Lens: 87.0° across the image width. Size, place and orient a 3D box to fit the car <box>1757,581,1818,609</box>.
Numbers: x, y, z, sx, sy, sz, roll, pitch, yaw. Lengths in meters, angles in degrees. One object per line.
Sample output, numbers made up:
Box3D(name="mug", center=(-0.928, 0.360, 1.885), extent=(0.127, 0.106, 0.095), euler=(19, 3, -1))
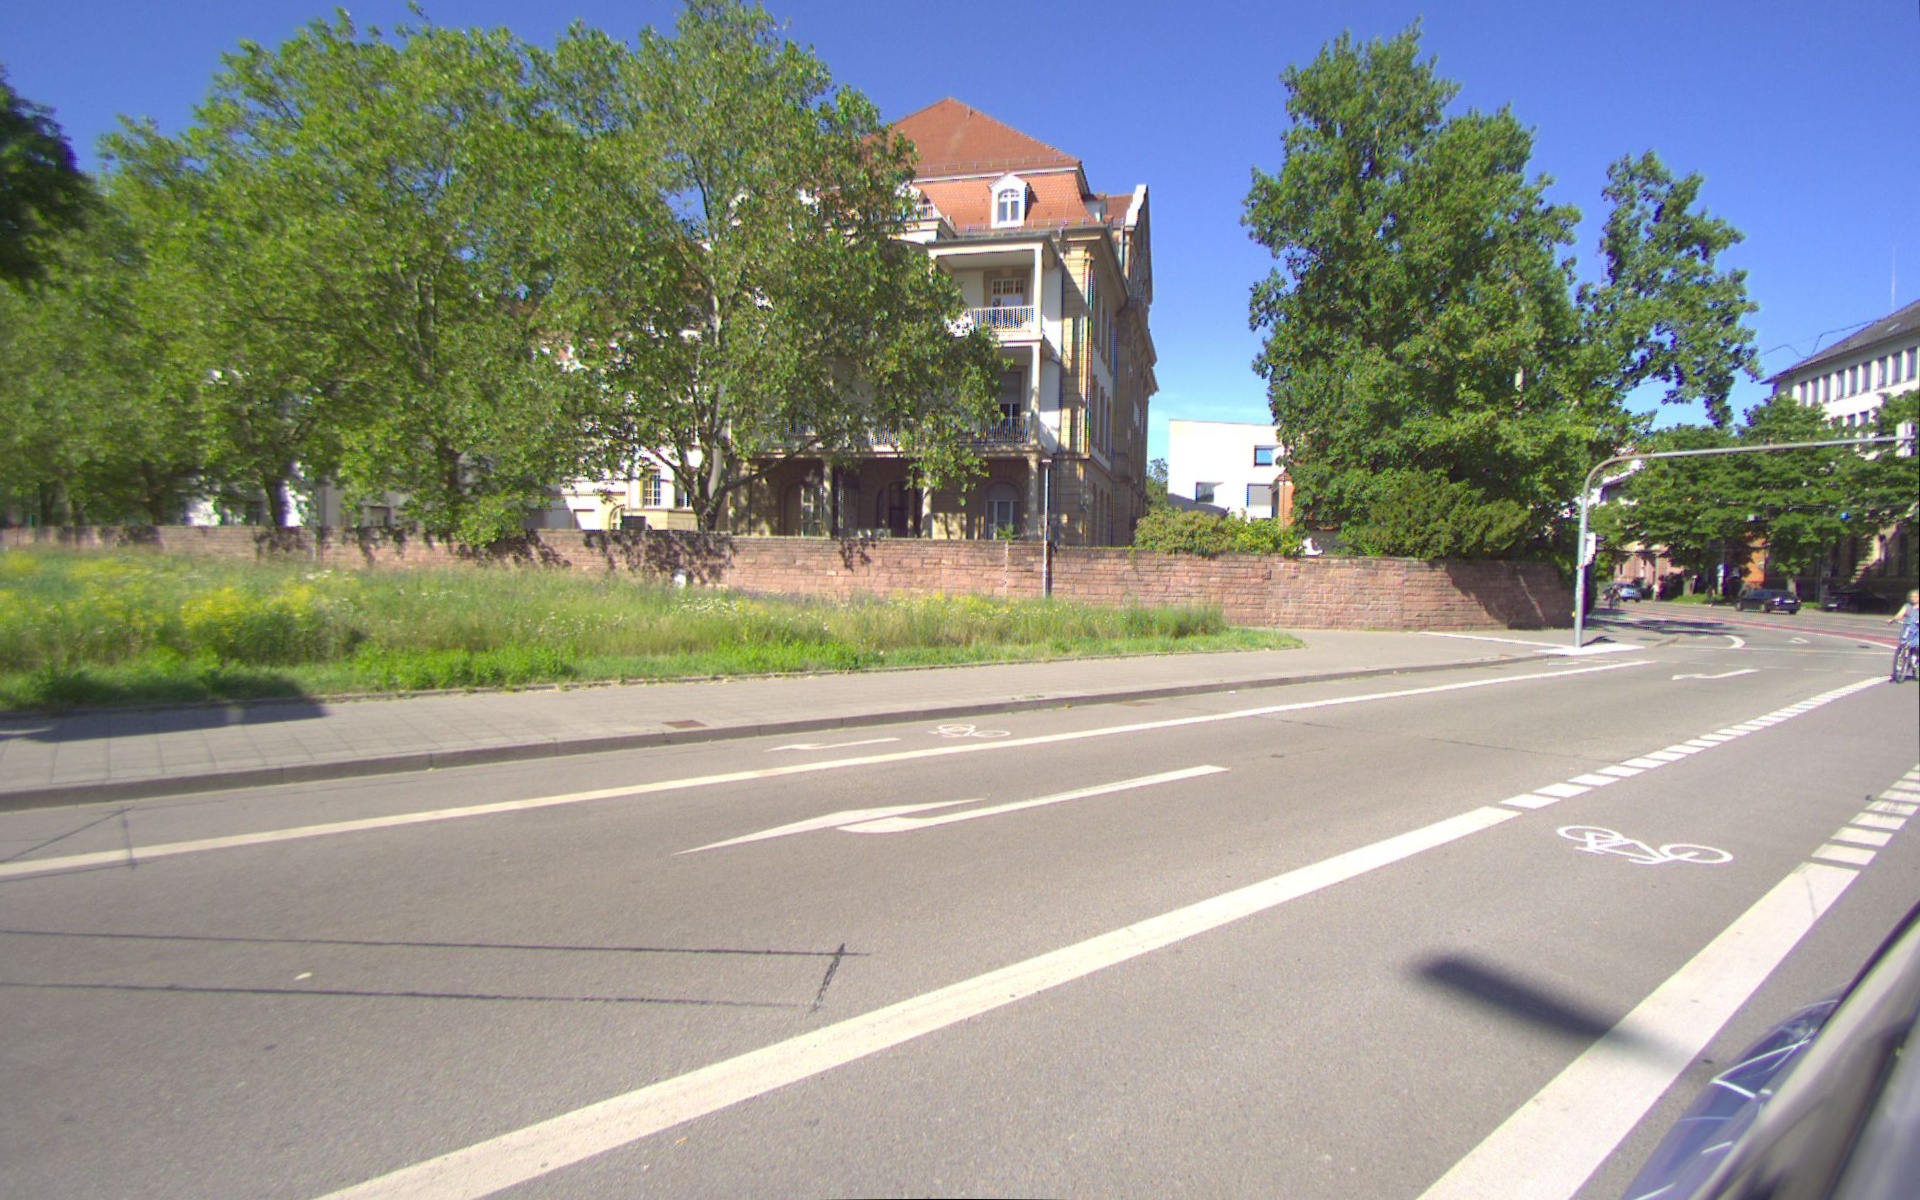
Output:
Box3D(name="car", center=(51.862, -0.358, 63.501), extent=(1.776, 1.517, 4.537), euler=(3, 3, 25))

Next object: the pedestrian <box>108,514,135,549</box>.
Box3D(name="pedestrian", center=(-35.563, -2.903, 42.908), extent=(0.516, 1.461, 0.721), euler=(0, 0, 20))

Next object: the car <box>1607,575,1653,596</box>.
Box3D(name="car", center=(57.058, -1.267, 86.228), extent=(1.834, 1.561, 4.225), euler=(3, 3, 14))

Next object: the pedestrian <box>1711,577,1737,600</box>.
Box3D(name="pedestrian", center=(61.663, -0.930, 81.696), extent=(1.366, 1.844, 0.937), euler=(1, 1, 4))

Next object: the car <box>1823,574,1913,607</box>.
Box3D(name="car", center=(61.203, -0.644, 68.252), extent=(4.615, 2.038, 2.004), euler=(1, 2, -9))

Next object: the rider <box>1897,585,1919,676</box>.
Box3D(name="rider", center=(17.702, 0.546, 18.535), extent=(0.971, 1.640, 0.658), euler=(0, 1, -41))

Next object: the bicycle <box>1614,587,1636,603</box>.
Box3D(name="bicycle", center=(42.282, -0.323, 64.344), extent=(1.723, 1.018, 0.711), euler=(0, 1, -41))

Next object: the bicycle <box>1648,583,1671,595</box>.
Box3D(name="bicycle", center=(60.639, -0.934, 87.722), extent=(0.720, 1.003, 1.834), euler=(1, 2, 3))

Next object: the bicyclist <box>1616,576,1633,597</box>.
Box3D(name="bicyclist", center=(42.215, -0.846, 64.258), extent=(0.764, 1.333, 0.711), euler=(0, 1, -41))
